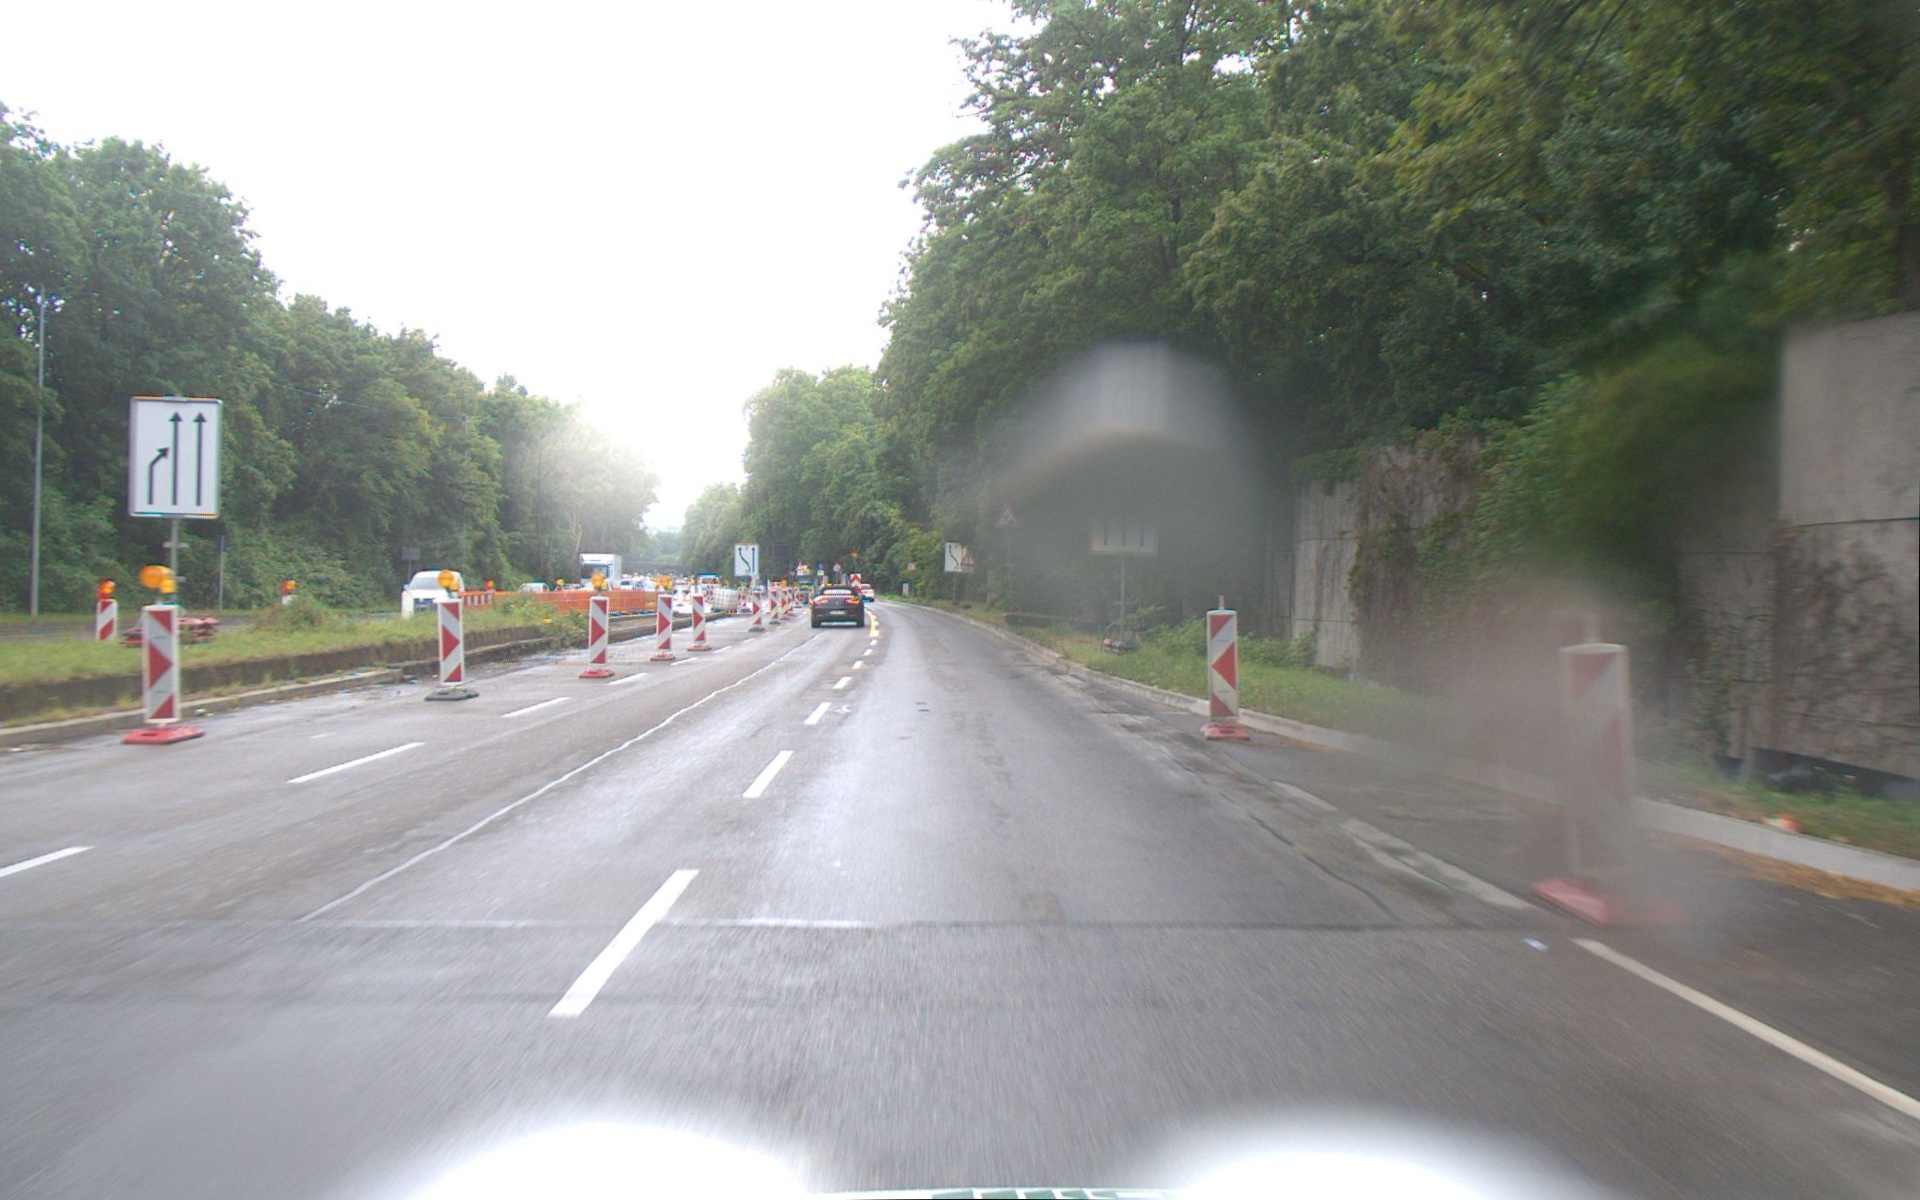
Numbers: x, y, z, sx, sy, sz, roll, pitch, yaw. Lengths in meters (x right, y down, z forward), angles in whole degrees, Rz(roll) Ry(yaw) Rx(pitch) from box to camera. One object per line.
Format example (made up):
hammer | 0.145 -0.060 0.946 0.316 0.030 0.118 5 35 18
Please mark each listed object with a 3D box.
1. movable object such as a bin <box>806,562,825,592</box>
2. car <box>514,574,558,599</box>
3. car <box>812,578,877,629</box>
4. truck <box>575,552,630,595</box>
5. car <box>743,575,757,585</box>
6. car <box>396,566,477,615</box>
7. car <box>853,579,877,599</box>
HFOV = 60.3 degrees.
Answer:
movable object such as a bin | -14.467 -2.319 165.632 1.714 2.917 3.528 -1 1 -8
car | -25.042 -0.823 97.778 1.755 1.450 3.895 0 1 -2
car | -4.016 0.090 58.082 1.823 1.517 4.002 2 3 2
truck | -27.824 -2.079 129.177 2.740 3.203 10.140 0 1 -4
car | -31.816 -2.987 250.282 1.726 1.367 3.989 1 2 -12
car | -20.884 -0.409 66.146 1.876 1.812 4.832 1 1 -3
car | -7.975 -0.933 138.553 1.877 1.625 4.829 1 1 -5
